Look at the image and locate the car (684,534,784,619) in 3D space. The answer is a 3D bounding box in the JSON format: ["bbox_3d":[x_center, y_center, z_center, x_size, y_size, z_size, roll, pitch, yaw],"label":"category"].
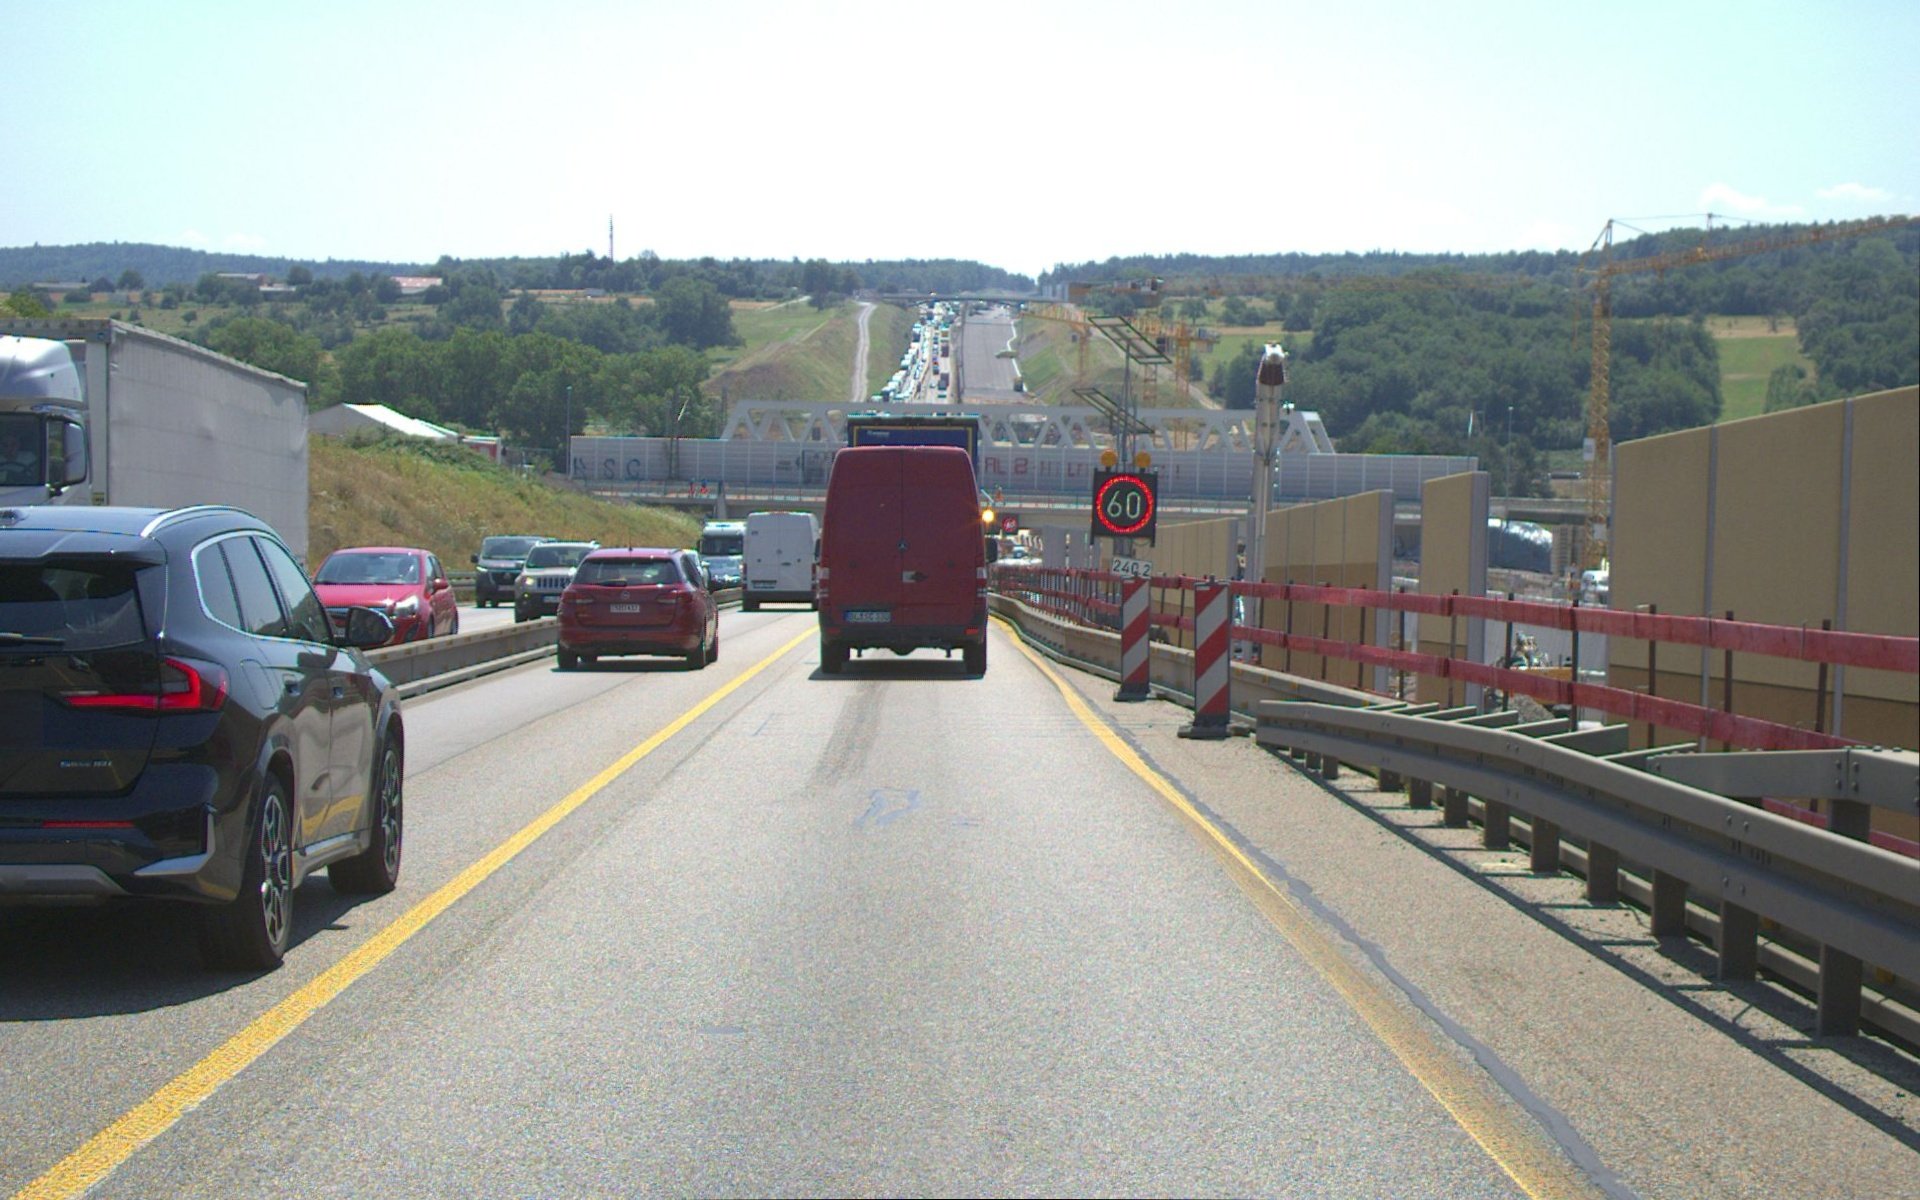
[{"bbox_3d":[-4.528,-0.503,69.419,1.839,1.648,4.165,0,1,-1],"label":"car"}]

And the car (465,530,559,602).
[{"bbox_3d":[-12.393,-0.968,95.386,2.038,1.919,5.122,-1,1,-2],"label":"car"}]

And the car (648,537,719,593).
[{"bbox_3d":[-8.417,-1.079,104.865,1.839,1.648,5.372,0,1,-1],"label":"car"}]

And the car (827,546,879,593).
[{"bbox_3d":[-3.821,-1.100,123.388,1.776,1.664,4.029,0,1,-1],"label":"car"}]

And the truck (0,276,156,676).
[{"bbox_3d":[-10.958,-1.343,38.481,2.745,4.167,5.289,0,1,-1],"label":"truck"}]

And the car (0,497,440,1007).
[{"bbox_3d":[-3.240,0.452,13.122,1.879,1.612,4.499,0,1,-1],"label":"car"}]

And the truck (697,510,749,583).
[{"bbox_3d":[-13.411,-3.039,194.664,2.698,4.036,3.955,1,1,-1],"label":"truck"}]

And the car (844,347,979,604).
[{"bbox_3d":[-1.015,-2.500,72.230,2.621,5.015,10.397,0,1,-1],"label":"car"}]

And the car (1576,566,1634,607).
[{"bbox_3d":[32.809,-0.699,175.050,1.805,2.007,4.826,1,1,-3],"label":"car"}]

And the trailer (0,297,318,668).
[{"bbox_3d":[-11.101,-1.457,45.651,2.785,4.167,13.980,0,1,-1],"label":"trailer"}]

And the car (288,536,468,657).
[{"bbox_3d":[-7.397,-0.078,43.995,1.669,1.461,4.000,0,1,-1],"label":"car"}]

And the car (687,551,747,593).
[{"bbox_3d":[-9.098,-1.058,128.945,1.955,1.494,5.090,1,1,-1],"label":"car"}]

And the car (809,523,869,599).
[{"bbox_3d":[-3.743,-1.215,106.951,1.776,2.322,4.206,0,1,-1],"label":"car"}]

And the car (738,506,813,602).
[{"bbox_3d":[-4.758,-1.192,89.157,1.776,2.433,4.206,0,1,-1],"label":"car"}]

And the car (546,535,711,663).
[{"bbox_3d":[-4.050,-0.042,42.568,1.775,1.512,4.206,0,1,-2],"label":"car"}]

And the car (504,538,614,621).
[{"bbox_3d":[-8.232,-0.431,70.906,1.832,1.660,4.415,0,1,-1],"label":"car"}]

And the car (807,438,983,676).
[{"bbox_3d":[-0.766,-0.519,41.252,1.988,2.681,4.624,0,1,-1],"label":"car"}]

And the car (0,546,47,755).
[{"bbox_3d":[-7.219,0.352,22.220,1.665,1.389,3.905,0,1,-1],"label":"car"}]

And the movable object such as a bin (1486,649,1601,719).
[{"bbox_3d":[23.319,3.338,137.874,3.163,2.437,7.895,2,0,0],"label":"movable object such as a bin"}]
